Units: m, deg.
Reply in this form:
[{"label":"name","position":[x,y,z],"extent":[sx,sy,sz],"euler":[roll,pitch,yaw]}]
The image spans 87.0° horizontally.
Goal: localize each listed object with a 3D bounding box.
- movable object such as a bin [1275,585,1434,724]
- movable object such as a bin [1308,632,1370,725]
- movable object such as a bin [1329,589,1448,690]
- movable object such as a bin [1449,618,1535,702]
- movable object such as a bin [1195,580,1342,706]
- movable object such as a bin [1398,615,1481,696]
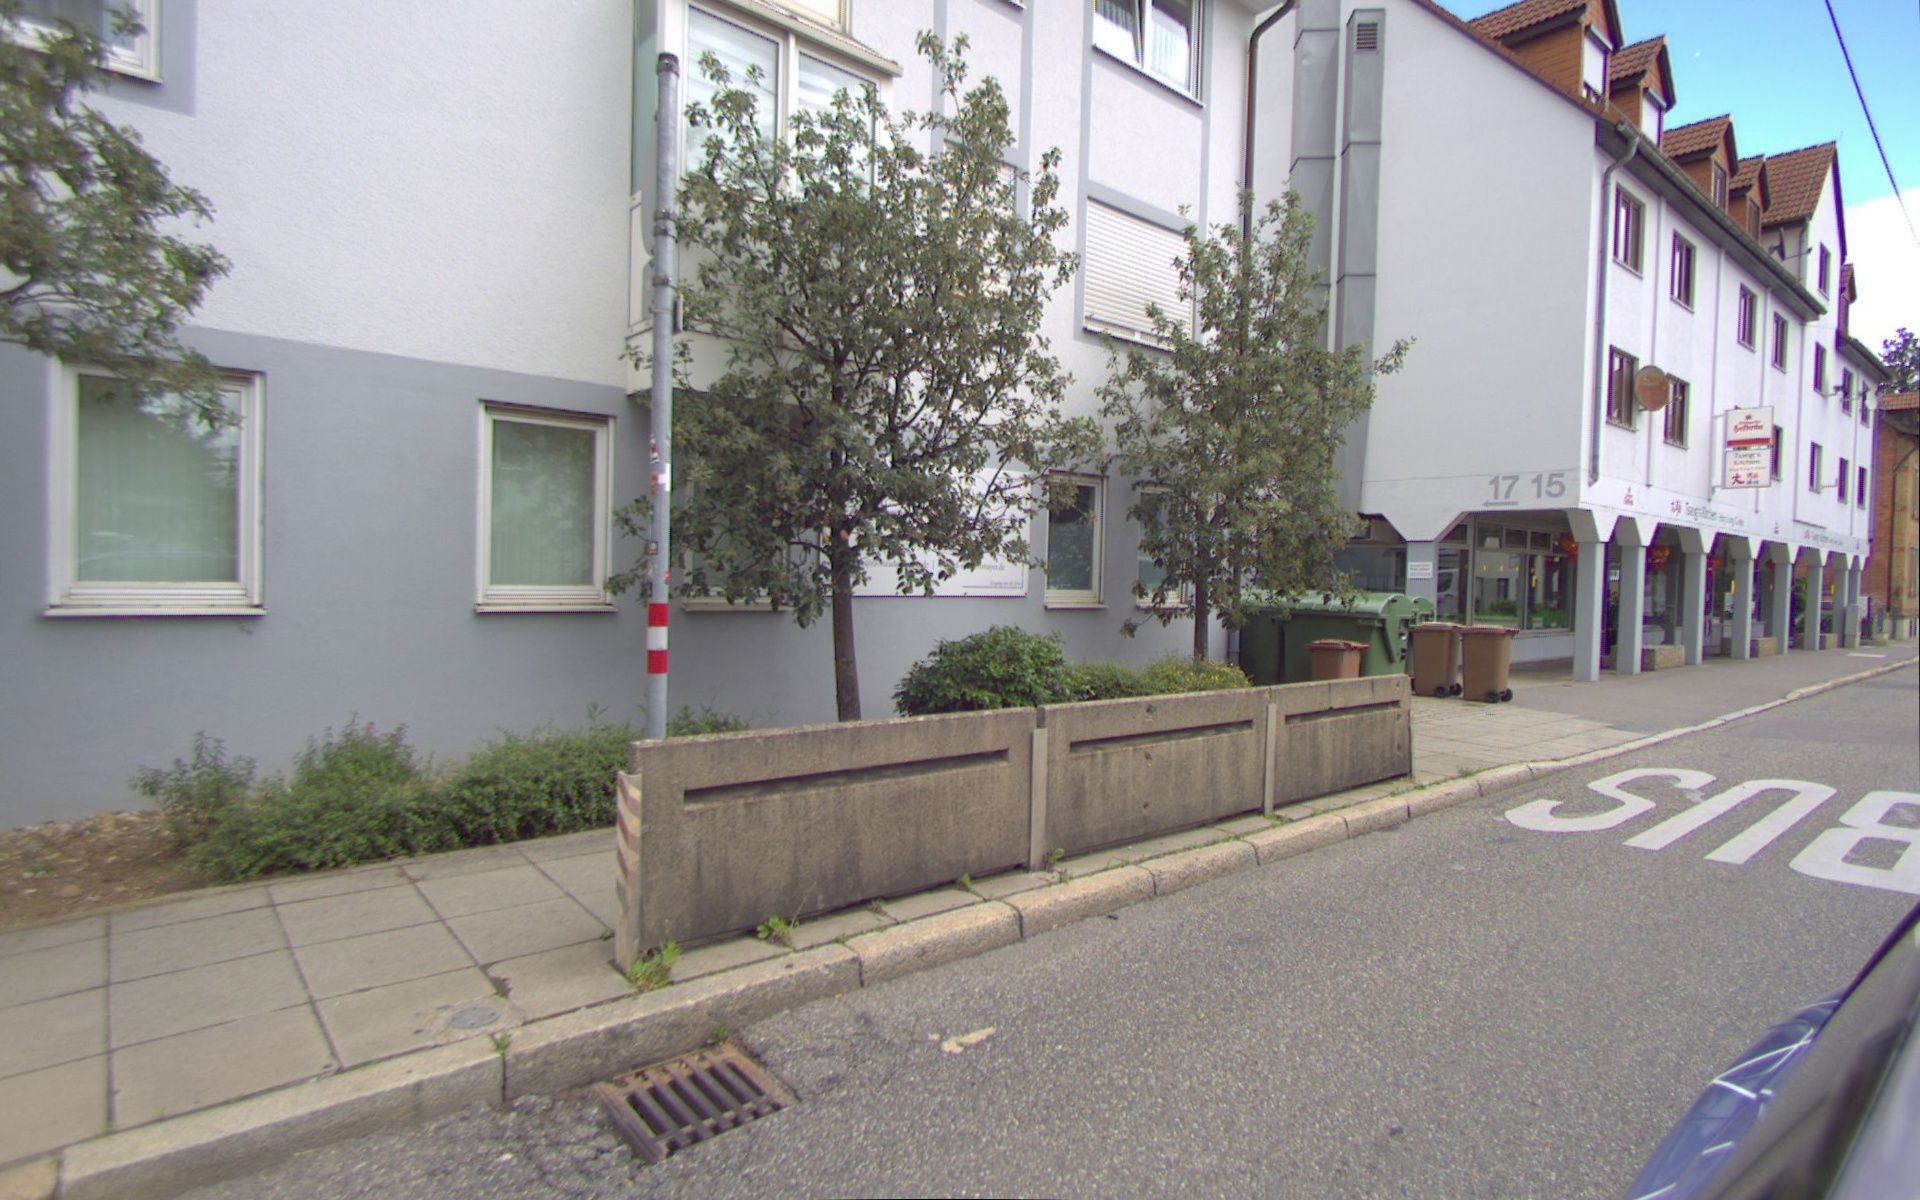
[{"label":"movable object such as a bin","position":[4.486,0.569,11.534],"extent":[1.142,1.435,1.270],"euler":[0,1,-40]},{"label":"movable object such as a bin","position":[4.050,0.820,10.806],"extent":[0.457,0.932,0.431],"euler":[1,1,-40]},{"label":"movable object such as a bin","position":[6.593,0.572,15.592],"extent":[1.236,1.435,1.213],"euler":[1,1,-37]},{"label":"movable object such as a bin","position":[7.392,0.805,14.061],"extent":[0.953,1.080,0.685],"euler":[1,1,-37]},{"label":"movable object such as a bin","position":[3.906,0.500,12.828],"extent":[1.284,1.452,1.270],"euler":[0,1,-40]},{"label":"movable object such as a bin","position":[6.942,0.780,14.638],"extent":[0.953,1.092,0.700],"euler":[1,1,-37]}]
